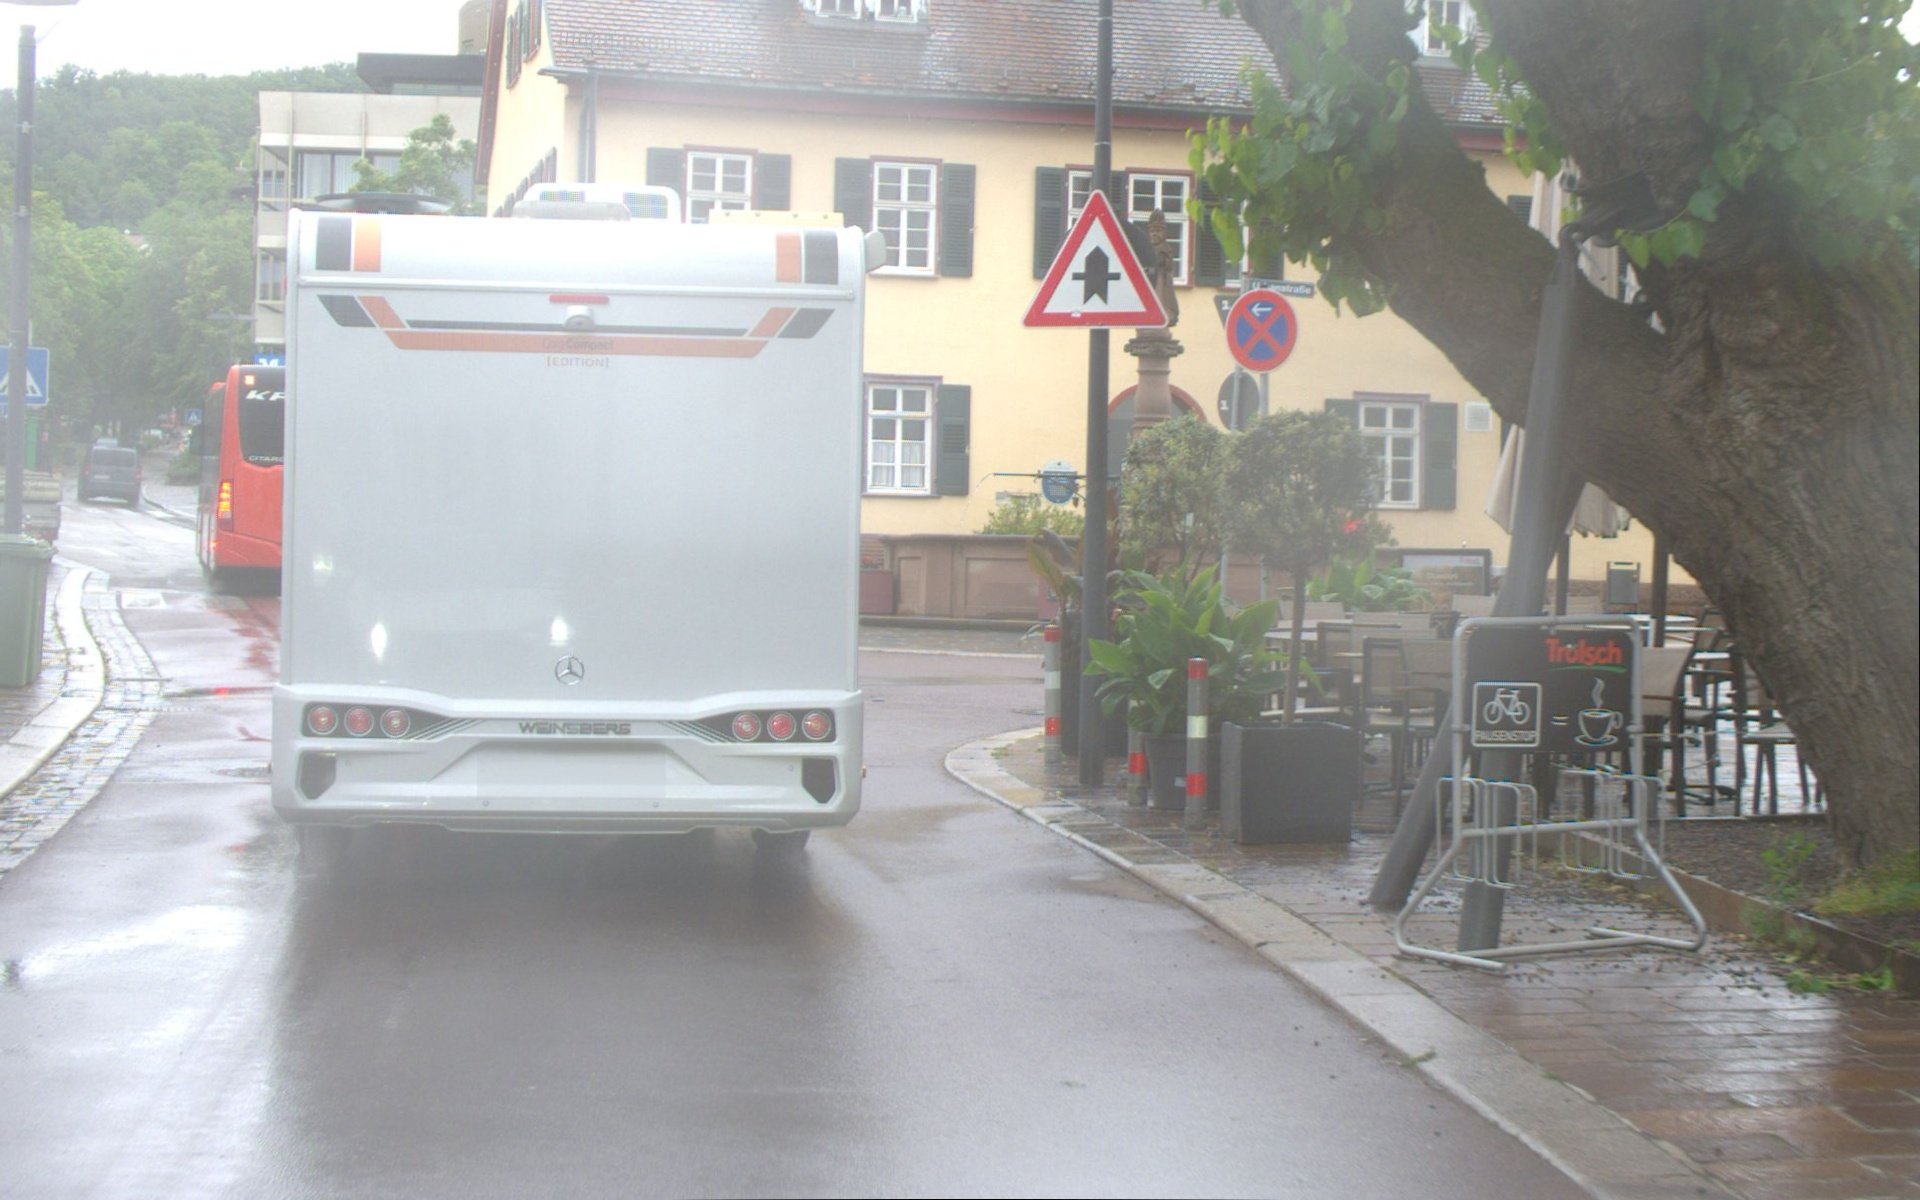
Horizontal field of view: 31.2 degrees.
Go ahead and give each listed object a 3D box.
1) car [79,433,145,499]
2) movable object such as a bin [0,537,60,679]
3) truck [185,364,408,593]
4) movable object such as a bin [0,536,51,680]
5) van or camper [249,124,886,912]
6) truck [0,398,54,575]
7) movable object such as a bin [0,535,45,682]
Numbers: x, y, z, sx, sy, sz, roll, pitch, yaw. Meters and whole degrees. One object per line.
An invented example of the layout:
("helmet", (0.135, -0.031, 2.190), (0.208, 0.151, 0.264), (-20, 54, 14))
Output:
("car", (-28.303, -4.458, 114.689), (1.993, 2.007, 4.001), (1, 0, -15))
("movable object such as a bin", (-7.282, 0.050, 26.158), (0.765, 1.047, 0.524), (3, -1, -12))
("truck", (-9.330, -1.590, 47.906), (2.461, 2.929, 6.200), (1, 0, -16))
("movable object such as a bin", (-7.126, 0.053, 25.385), (0.765, 1.047, 0.524), (1, 0, -12))
("van or camper", (-1.864, -0.302, 16.067), (2.325, 2.909, 6.394), (1, 0, -7))
("truck", (-16.080, -1.800, 56.241), (2.279, 2.748, 5.570), (1, 0, -16))
("movable object such as a bin", (-7.030, 0.055, 24.735), (0.818, 1.047, 0.700), (1, 0, -12))
